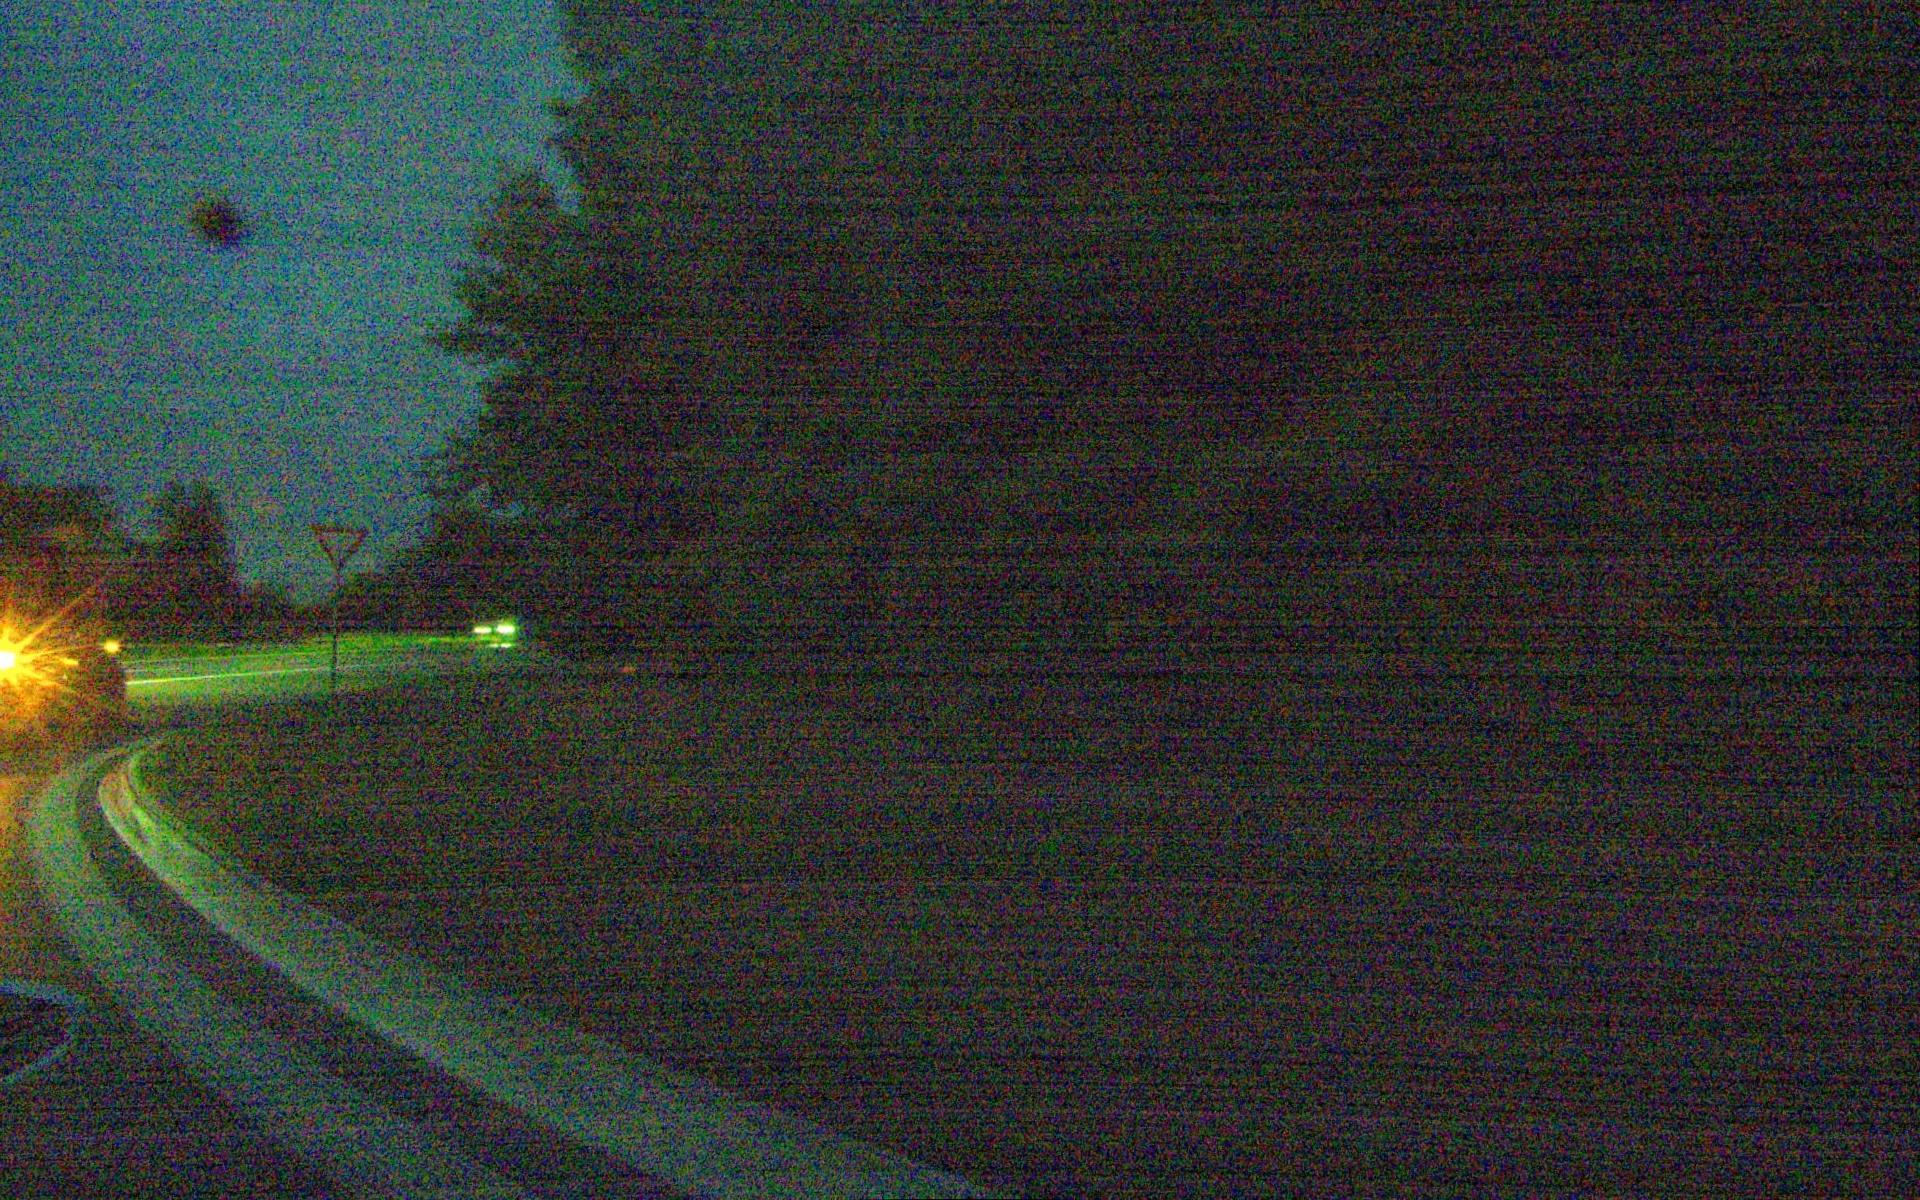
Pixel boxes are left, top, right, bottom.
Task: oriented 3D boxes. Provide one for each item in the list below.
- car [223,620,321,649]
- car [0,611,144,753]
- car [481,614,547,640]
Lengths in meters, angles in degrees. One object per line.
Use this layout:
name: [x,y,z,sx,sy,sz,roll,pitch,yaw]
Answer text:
car: [-37.330,1.839,54.482,1.961,1.472,4.735,-1,-1,2]
car: [-12.658,0.973,13.305,1.879,1.640,4.536,2,-2,-27]
car: [-29.181,1.766,65.701,1.961,1.590,4.823,-1,-1,3]
